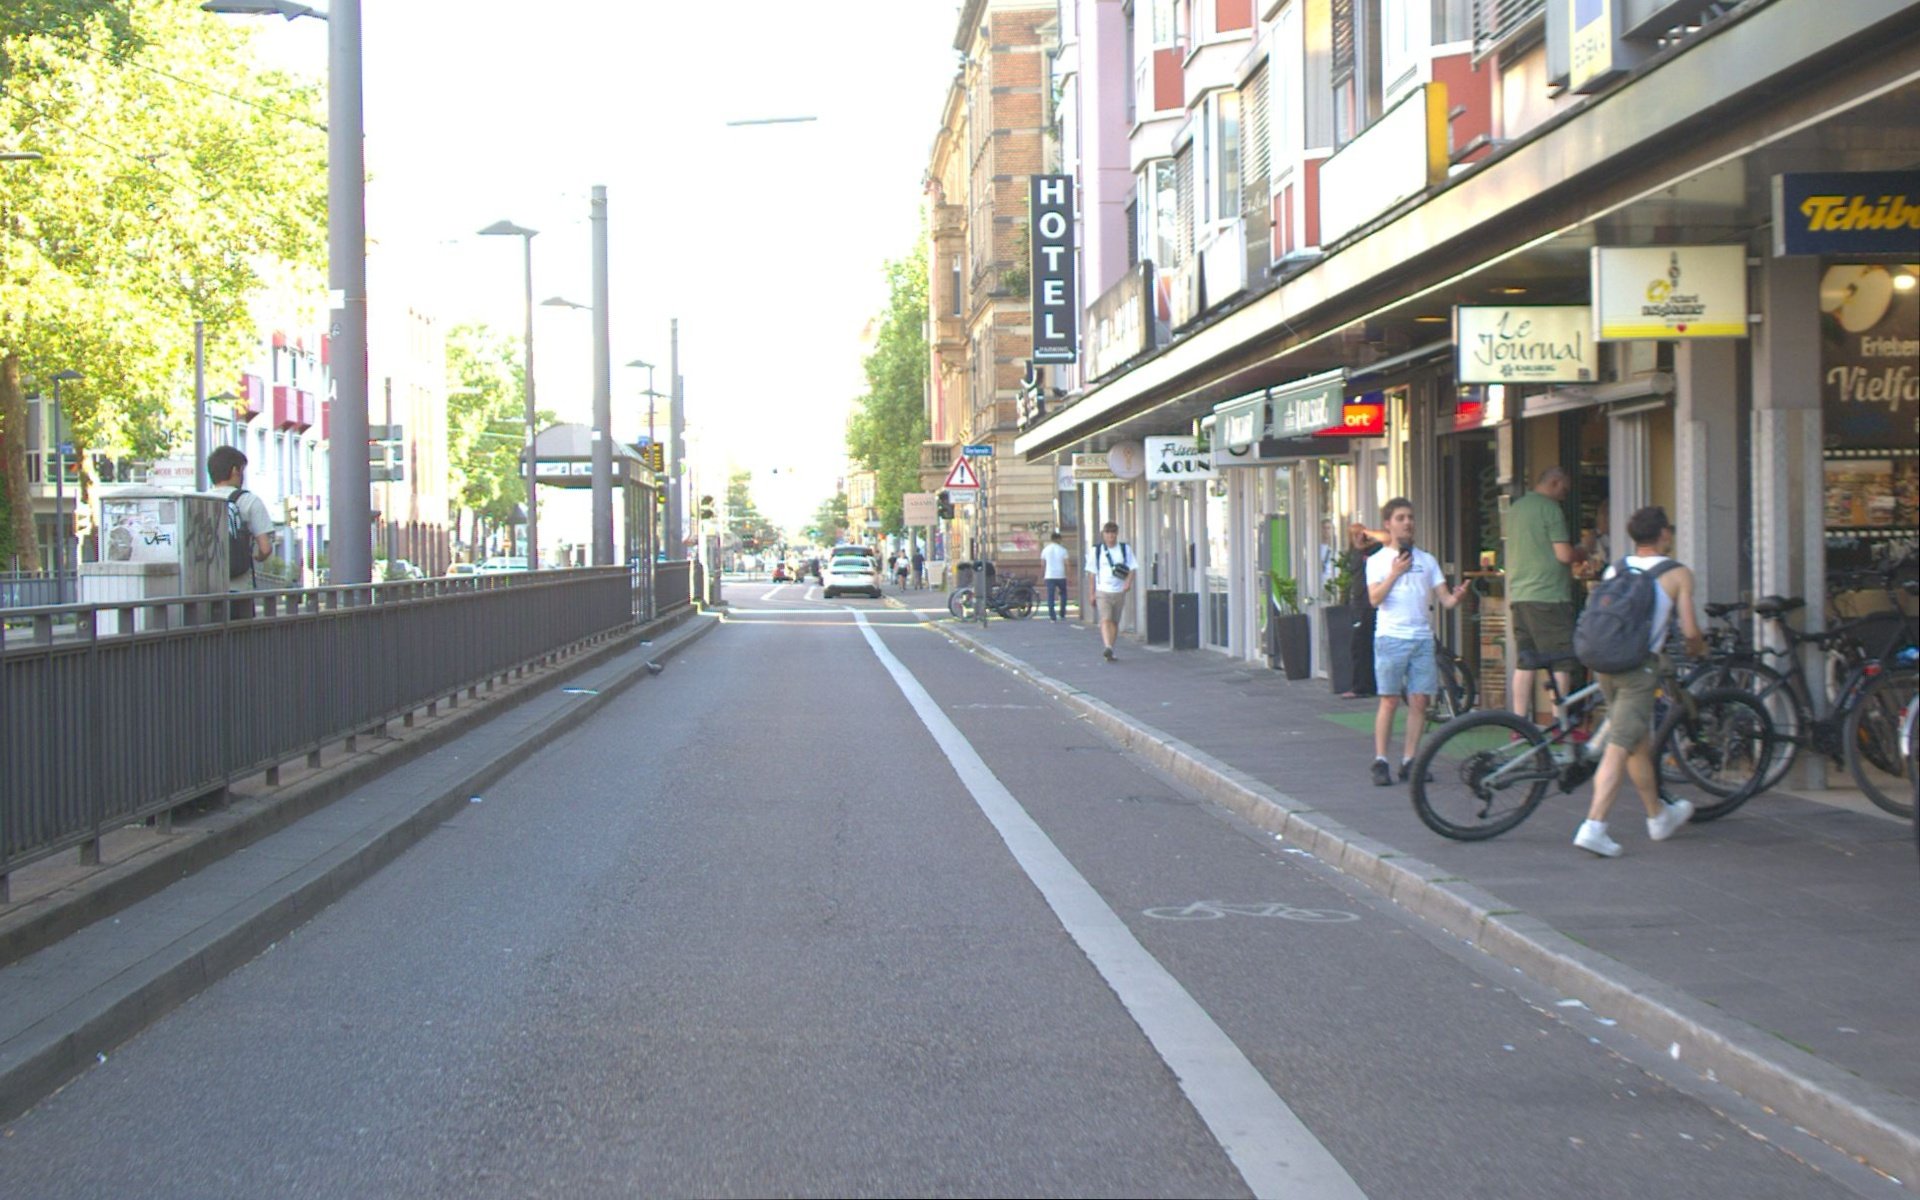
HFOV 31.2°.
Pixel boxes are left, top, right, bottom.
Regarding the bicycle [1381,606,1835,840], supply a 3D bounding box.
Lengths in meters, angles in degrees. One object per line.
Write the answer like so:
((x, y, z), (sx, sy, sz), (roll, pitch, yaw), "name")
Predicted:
((3.109, 0.582, 16.607), (2.022, 0.970, 0.659), (-3, 1, 0), "bicycle")

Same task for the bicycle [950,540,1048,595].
((0.806, -0.681, 71.517), (1.970, 1.101, 0.614), (-1, 1, -5), "bicycle")

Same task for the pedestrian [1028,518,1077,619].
((1.774, -0.603, 65.811), (0.813, 1.878, 0.776), (3, 0, -1), "pedestrian")

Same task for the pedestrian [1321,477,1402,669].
((3.561, -0.240, 30.496), (0.541, 1.667, 0.469), (-2, 1, -11), "pedestrian")

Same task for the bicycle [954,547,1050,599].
((0.854, -0.567, 70.863), (1.913, 1.044, 0.681), (-1, 1, -5), "bicycle")

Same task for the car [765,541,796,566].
((-12.266, -3.189, 234.893), (2.041, 1.668, 4.876), (1, 1, -3), "car")

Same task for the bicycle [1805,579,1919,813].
((5.066, 0.415, 16.326), (1.924, 1.056, 0.576), (-2, 1, -5), "bicycle")

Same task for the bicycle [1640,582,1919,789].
((4.496, 0.434, 17.974), (1.731, 0.970, 0.506), (-4, 1, 3), "bicycle")

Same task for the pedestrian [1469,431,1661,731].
((3.975, -0.128, 22.637), (0.914, 1.860, 0.779), (-5, 1, -5), "pedestrian")

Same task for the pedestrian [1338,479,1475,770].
((2.635, 0.137, 20.354), (0.632, 1.667, 0.771), (-2, 1, -2), "pedestrian")

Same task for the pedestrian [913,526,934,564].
((-1.540, -2.320, 144.702), (0.776, 1.561, 0.914), (-4, 1, -1), "pedestrian")

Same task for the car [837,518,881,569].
((-4.208, -2.353, 143.934), (1.705, 2.112, 3.706), (0, 0, 1), "car")

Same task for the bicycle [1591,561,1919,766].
((4.607, 0.348, 19.441), (1.924, 1.056, 0.576), (-2, 1, -3), "bicycle")

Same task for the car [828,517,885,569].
((-3.636, -1.995, 121.292), (1.966, 1.765, 4.876), (1, 1, -1), "car")

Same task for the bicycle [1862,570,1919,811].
((5.168, 0.365, 15.671), (1.924, 1.056, 0.576), (-2, 1, -5), "bicycle")

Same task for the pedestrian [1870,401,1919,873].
((4.075, 0.138, 13.277), (0.731, 1.810, 0.807), (-1, 1, -40), "pedestrian")

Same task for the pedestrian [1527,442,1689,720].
((4.466, -0.133, 23.710), (0.777, 1.860, 0.687), (-3, 1, -22), "pedestrian")

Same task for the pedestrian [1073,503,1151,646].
((1.891, -0.321, 42.918), (0.798, 1.716, 1.061), (-4, 0, -1), "pedestrian")

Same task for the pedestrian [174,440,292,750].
((-4.263, -0.032, 20.201), (0.582, 1.785, 0.606), (-1, 0, -4), "pedestrian")

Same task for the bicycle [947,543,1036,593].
((0.674, -0.701, 73.918), (1.833, 1.050, 0.710), (-1, 1, -5), "bicycle")

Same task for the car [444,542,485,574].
((-25.670, -2.189, 178.227), (1.869, 1.594, 4.255), (0, 1, -5), "car")

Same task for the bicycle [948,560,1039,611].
((0.702, -0.312, 72.246), (1.833, 1.050, 0.718), (-1, 1, -5), "bicycle")

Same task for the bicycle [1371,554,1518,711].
((3.558, 0.219, 25.371), (0.657, 1.063, 1.794), (-5, 1, -3), "bicycle")

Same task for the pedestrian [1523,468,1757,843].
((3.138, 0.244, 15.940), (0.777, 1.658, 0.917), (-3, 1, -5), "pedestrian")
